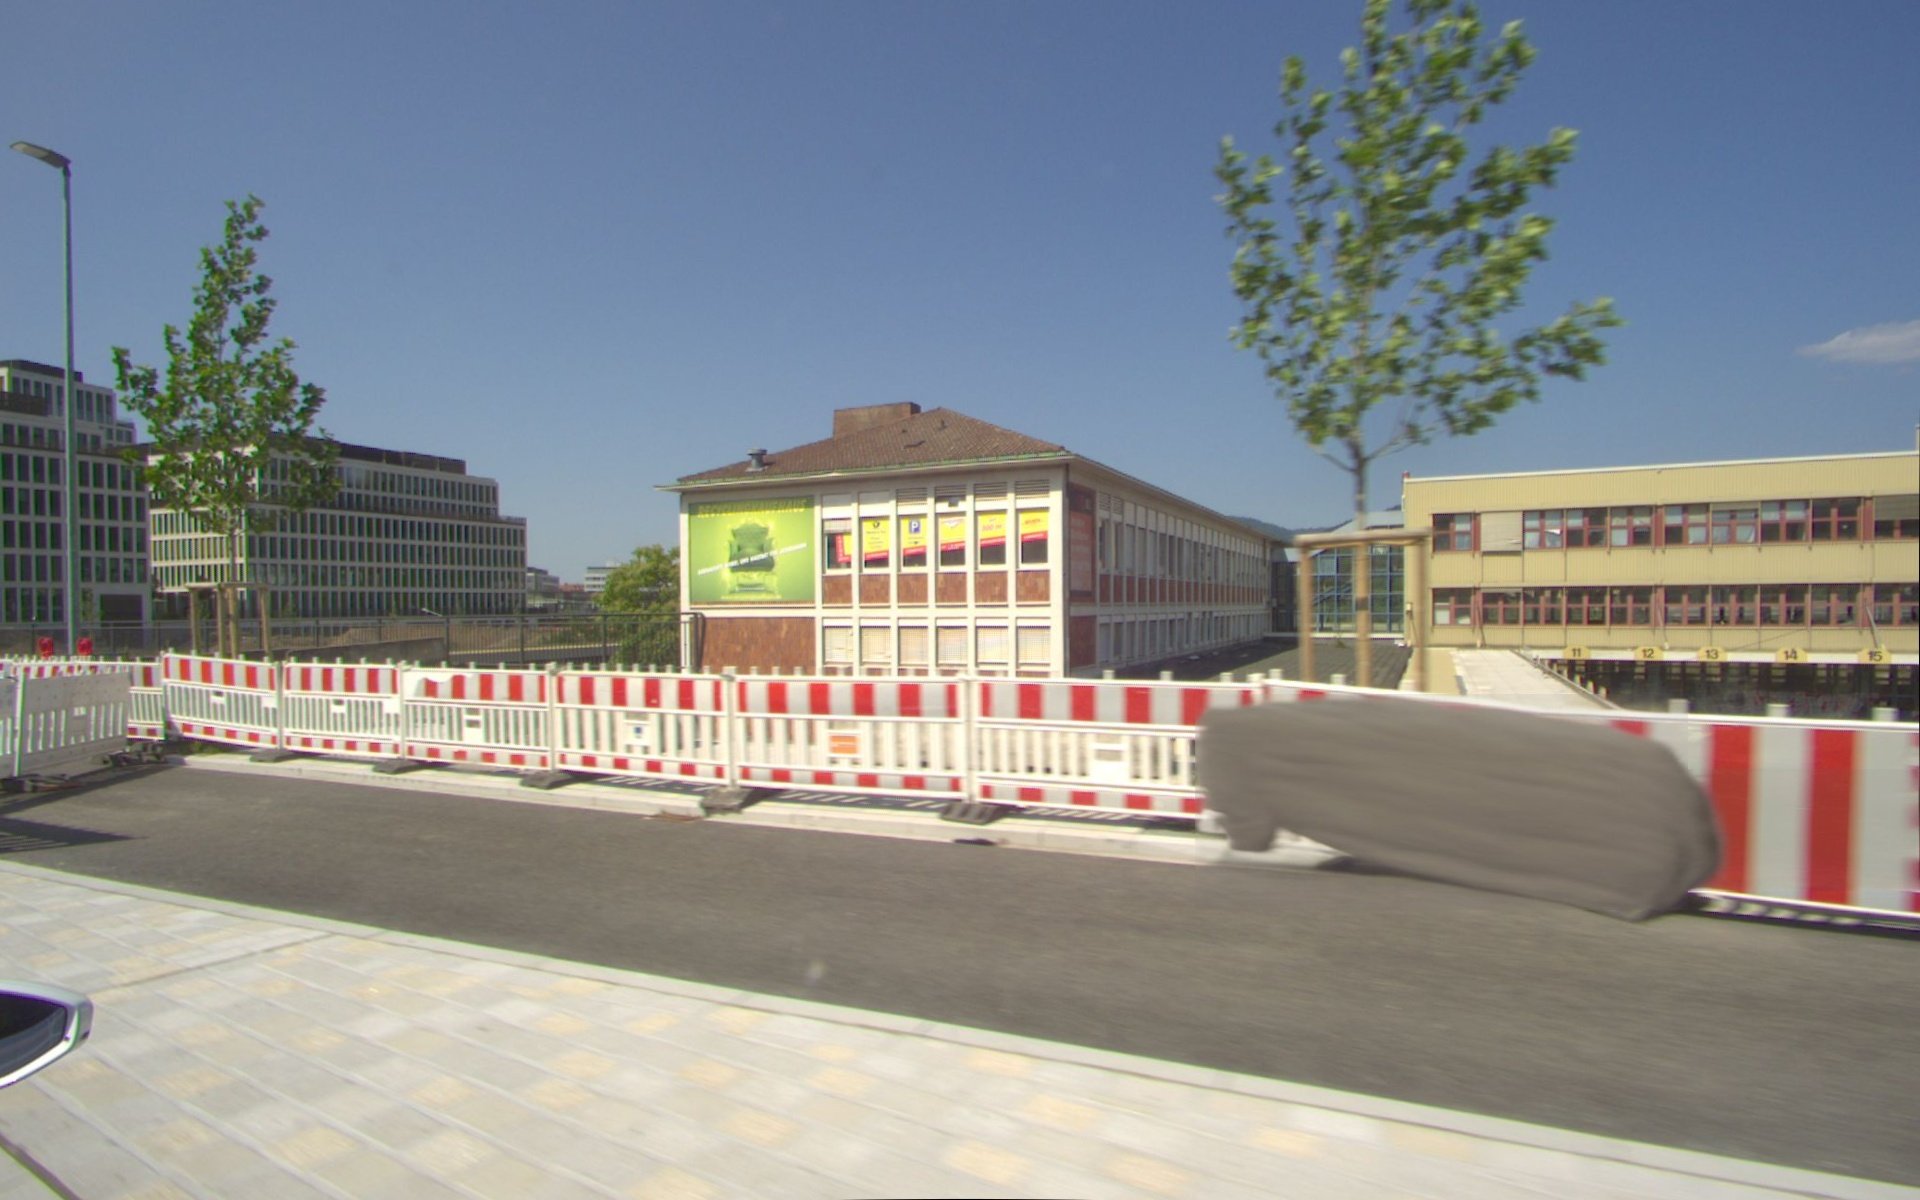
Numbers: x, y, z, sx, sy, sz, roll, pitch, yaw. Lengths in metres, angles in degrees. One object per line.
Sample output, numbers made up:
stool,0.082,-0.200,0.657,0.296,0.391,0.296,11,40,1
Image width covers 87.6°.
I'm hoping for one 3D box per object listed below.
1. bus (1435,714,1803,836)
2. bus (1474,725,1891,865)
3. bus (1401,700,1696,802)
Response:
bus,24.854,6.516,37.941,12.891,3.812,2.665,-1,-1,-7
bus,24.154,6.394,33.649,12.891,3.812,2.665,-1,-1,-7
bus,26.606,6.716,45.308,12.897,3.812,2.664,-1,-1,-11
